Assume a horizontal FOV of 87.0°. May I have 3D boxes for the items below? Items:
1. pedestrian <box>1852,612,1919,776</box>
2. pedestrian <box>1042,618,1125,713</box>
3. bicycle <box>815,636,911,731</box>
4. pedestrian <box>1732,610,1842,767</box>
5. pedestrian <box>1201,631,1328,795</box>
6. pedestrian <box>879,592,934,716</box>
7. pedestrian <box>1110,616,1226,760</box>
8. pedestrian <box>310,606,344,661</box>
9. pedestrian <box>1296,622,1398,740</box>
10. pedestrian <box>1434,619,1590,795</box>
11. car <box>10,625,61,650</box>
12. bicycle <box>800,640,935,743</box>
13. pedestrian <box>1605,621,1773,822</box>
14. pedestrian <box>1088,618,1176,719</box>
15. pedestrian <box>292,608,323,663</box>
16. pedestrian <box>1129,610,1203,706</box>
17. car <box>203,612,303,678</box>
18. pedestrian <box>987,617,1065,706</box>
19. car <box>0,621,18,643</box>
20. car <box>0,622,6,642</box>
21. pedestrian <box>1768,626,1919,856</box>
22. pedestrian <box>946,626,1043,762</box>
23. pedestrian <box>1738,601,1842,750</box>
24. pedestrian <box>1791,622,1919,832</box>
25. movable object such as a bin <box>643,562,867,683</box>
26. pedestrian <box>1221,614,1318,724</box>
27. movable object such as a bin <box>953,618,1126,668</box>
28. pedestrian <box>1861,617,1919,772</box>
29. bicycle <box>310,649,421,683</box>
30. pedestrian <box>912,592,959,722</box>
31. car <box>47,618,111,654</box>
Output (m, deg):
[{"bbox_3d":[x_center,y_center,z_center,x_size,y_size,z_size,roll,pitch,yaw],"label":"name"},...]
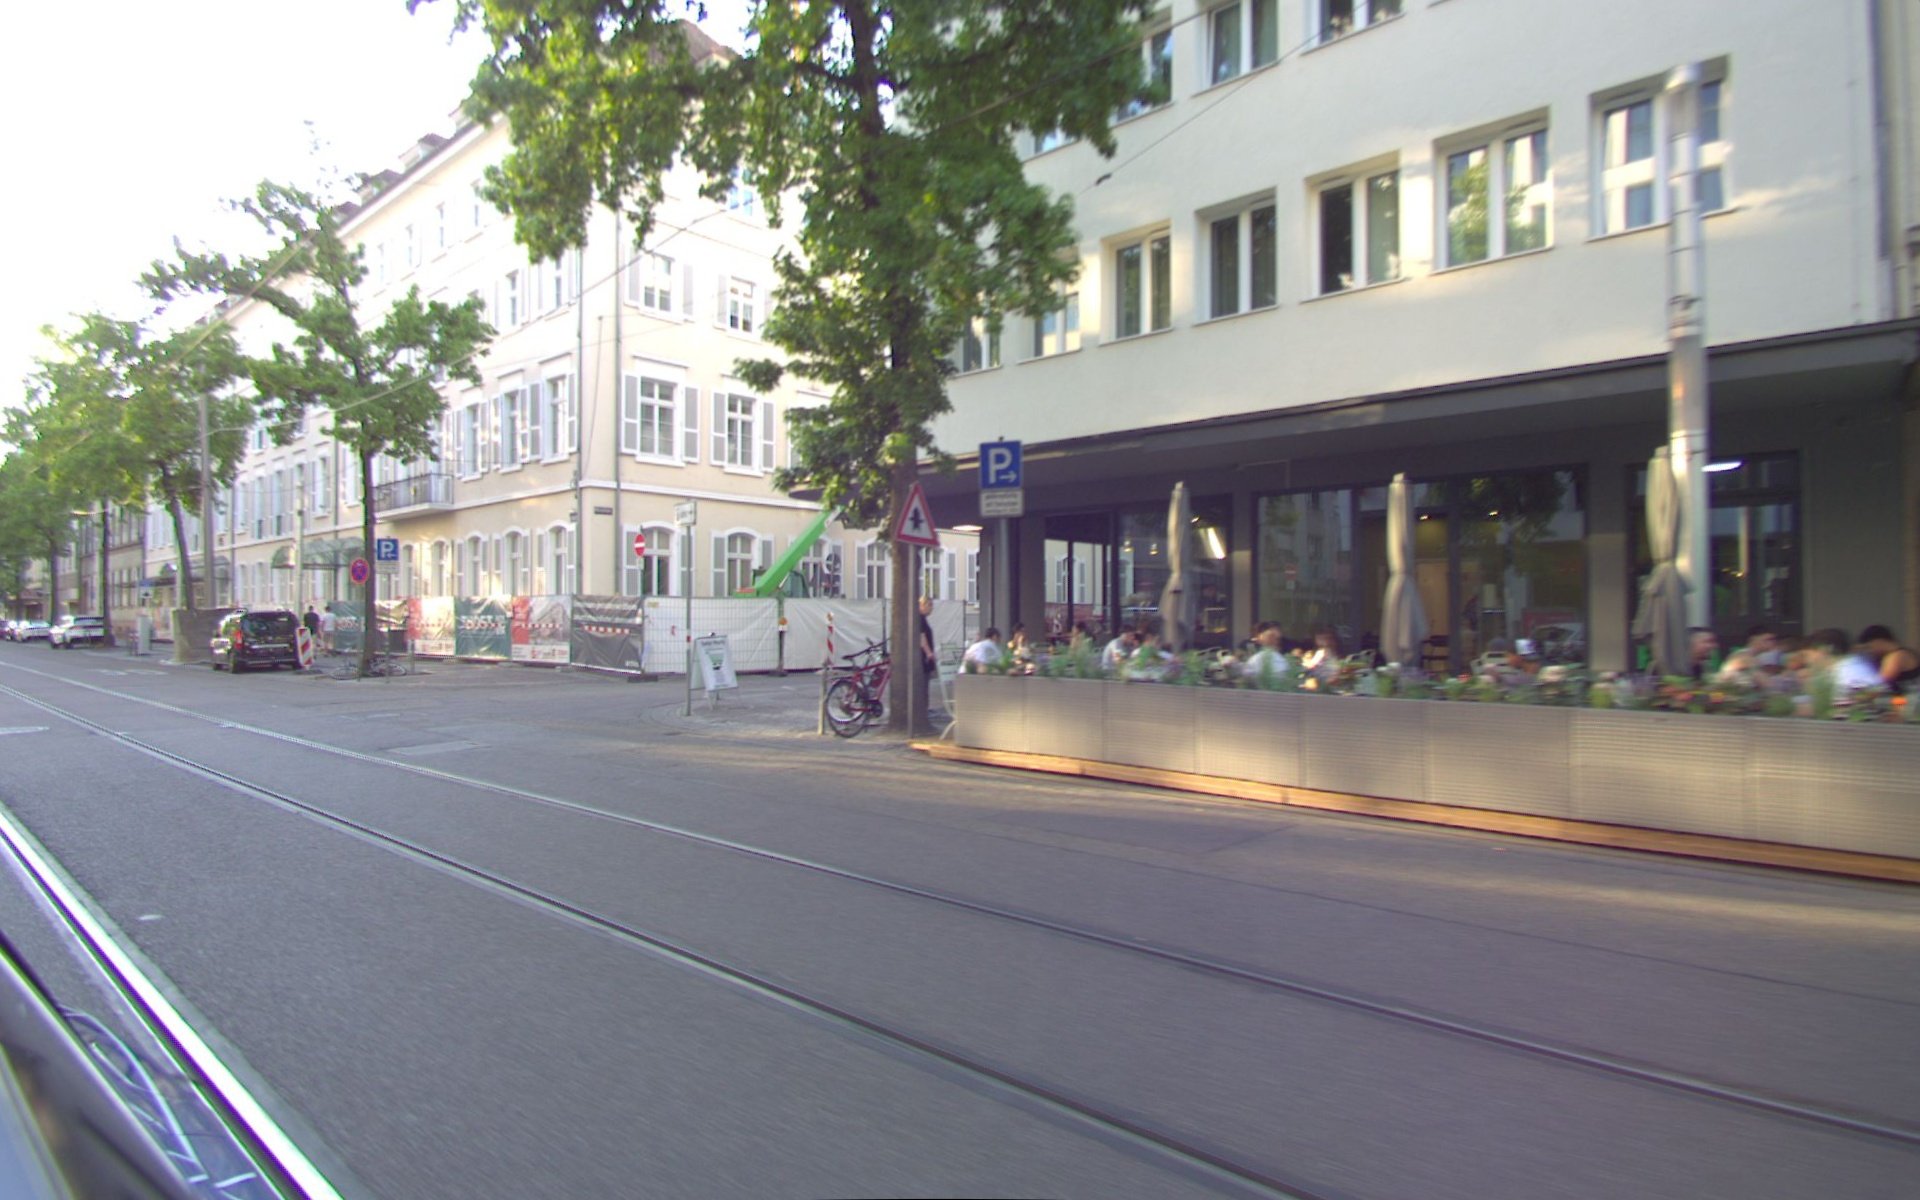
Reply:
[{"bbox_3d":[8.371,0.805,8.908,0.765,1.389,0.647,0,0,42],"label":"pedestrian"},{"bbox_3d":[1.826,0.938,14.952,0.838,1.330,0.882,0,0,-45],"label":"pedestrian"},{"bbox_3d":[-1.311,1.113,14.055,0.773,1.147,1.859,0,0,13],"label":"bicycle"},{"bbox_3d":[7.758,0.792,9.497,0.765,1.389,0.647,0,0,42],"label":"pedestrian"},{"bbox_3d":[2.765,0.984,9.199,0.872,1.372,0.708,-1,-1,43],"label":"pedestrian"},{"bbox_3d":[-0.773,0.771,14.809,0.635,1.754,0.779,0,0,11],"label":"pedestrian"},{"bbox_3d":[2.123,0.861,10.364,0.925,1.372,0.708,-1,-1,43],"label":"pedestrian"},{"bbox_3d":[-22.540,1.189,36.033,0.880,1.899,0.749,-1,1,42],"label":"pedestrian"},{"bbox_3d":[4.687,0.945,12.261,0.838,1.330,0.882,0,0,-45],"label":"pedestrian"},{"bbox_3d":[4.676,0.853,8.584,1.012,1.372,0.708,-1,-1,43],"label":"pedestrian"},{"bbox_3d":[-58.764,2.333,64.303,4.103,1.515,1.973,-1,-1,41],"label":"car"},{"bbox_3d":[-1.141,1.120,12.905,0.626,1.147,1.842,0,0,38],"label":"bicycle"},{"bbox_3d":[5.452,0.851,7.577,0.925,1.372,0.708,-1,-1,43],"label":"pedestrian"},{"bbox_3d":[2.416,0.931,14.221,0.882,1.330,0.875,0,0,45],"label":"pedestrian"},{"bbox_3d":[-22.828,1.225,35.403,0.769,1.899,0.670,-1,1,42],"label":"pedestrian"},{"bbox_3d":[2.981,0.820,14.650,0.842,1.330,0.615,0,0,45],"label":"pedestrian"},{"bbox_3d":[-21.282,1.309,30.415,3.880,1.778,1.748,-1,1,45],"label":"car"},{"bbox_3d":[1.051,0.941,16.025,0.882,1.330,0.875,0,0,45],"label":"pedestrian"},{"bbox_3d":[-73.807,2.457,77.637,4.105,1.588,1.971,-1,-1,43],"label":"car"},{"bbox_3d":[-78.369,2.559,81.524,4.105,1.561,1.971,-1,-1,43],"label":"car"},{"bbox_3d":[5.902,0.865,6.528,1.012,1.372,0.708,-1,-1,43],"label":"pedestrian"},{"bbox_3d":[0.374,0.986,10.997,0.793,1.388,0.685,-1,-1,43],"label":"pedestrian"},{"bbox_3d":[8.185,0.710,9.985,0.765,1.389,0.647,0,0,42],"label":"pedestrian"},{"bbox_3d":[6.476,0.847,7.046,1.012,1.372,0.708,-1,-1,43],"label":"pedestrian"},{"bbox_3d":[-5.366,0.591,27.199,2.641,2.894,5.492,0,-1,39],"label":"movable object such as a bin"},{"bbox_3d":[3.967,0.848,12.971,0.882,1.330,0.875,0,0,45],"label":"pedestrian"},{"bbox_3d":[3.149,1.557,38.177,2.898,1.677,7.196,0,-2,40],"label":"movable object such as a bin"},{"bbox_3d":[8.877,0.857,9.390,0.765,1.389,0.647,0,0,42],"label":"pedestrian"},{"bbox_3d":[-14.843,1.637,25.306,1.328,0.711,2.052,-1,0,35],"label":"bicycle"},{"bbox_3d":[-0.337,0.769,14.061,0.632,1.754,0.781,0,0,-1],"label":"pedestrian"},{"bbox_3d":[-45.120,1.834,51.819,4.103,1.751,1.973,-1,-1,41],"label":"car"}]
